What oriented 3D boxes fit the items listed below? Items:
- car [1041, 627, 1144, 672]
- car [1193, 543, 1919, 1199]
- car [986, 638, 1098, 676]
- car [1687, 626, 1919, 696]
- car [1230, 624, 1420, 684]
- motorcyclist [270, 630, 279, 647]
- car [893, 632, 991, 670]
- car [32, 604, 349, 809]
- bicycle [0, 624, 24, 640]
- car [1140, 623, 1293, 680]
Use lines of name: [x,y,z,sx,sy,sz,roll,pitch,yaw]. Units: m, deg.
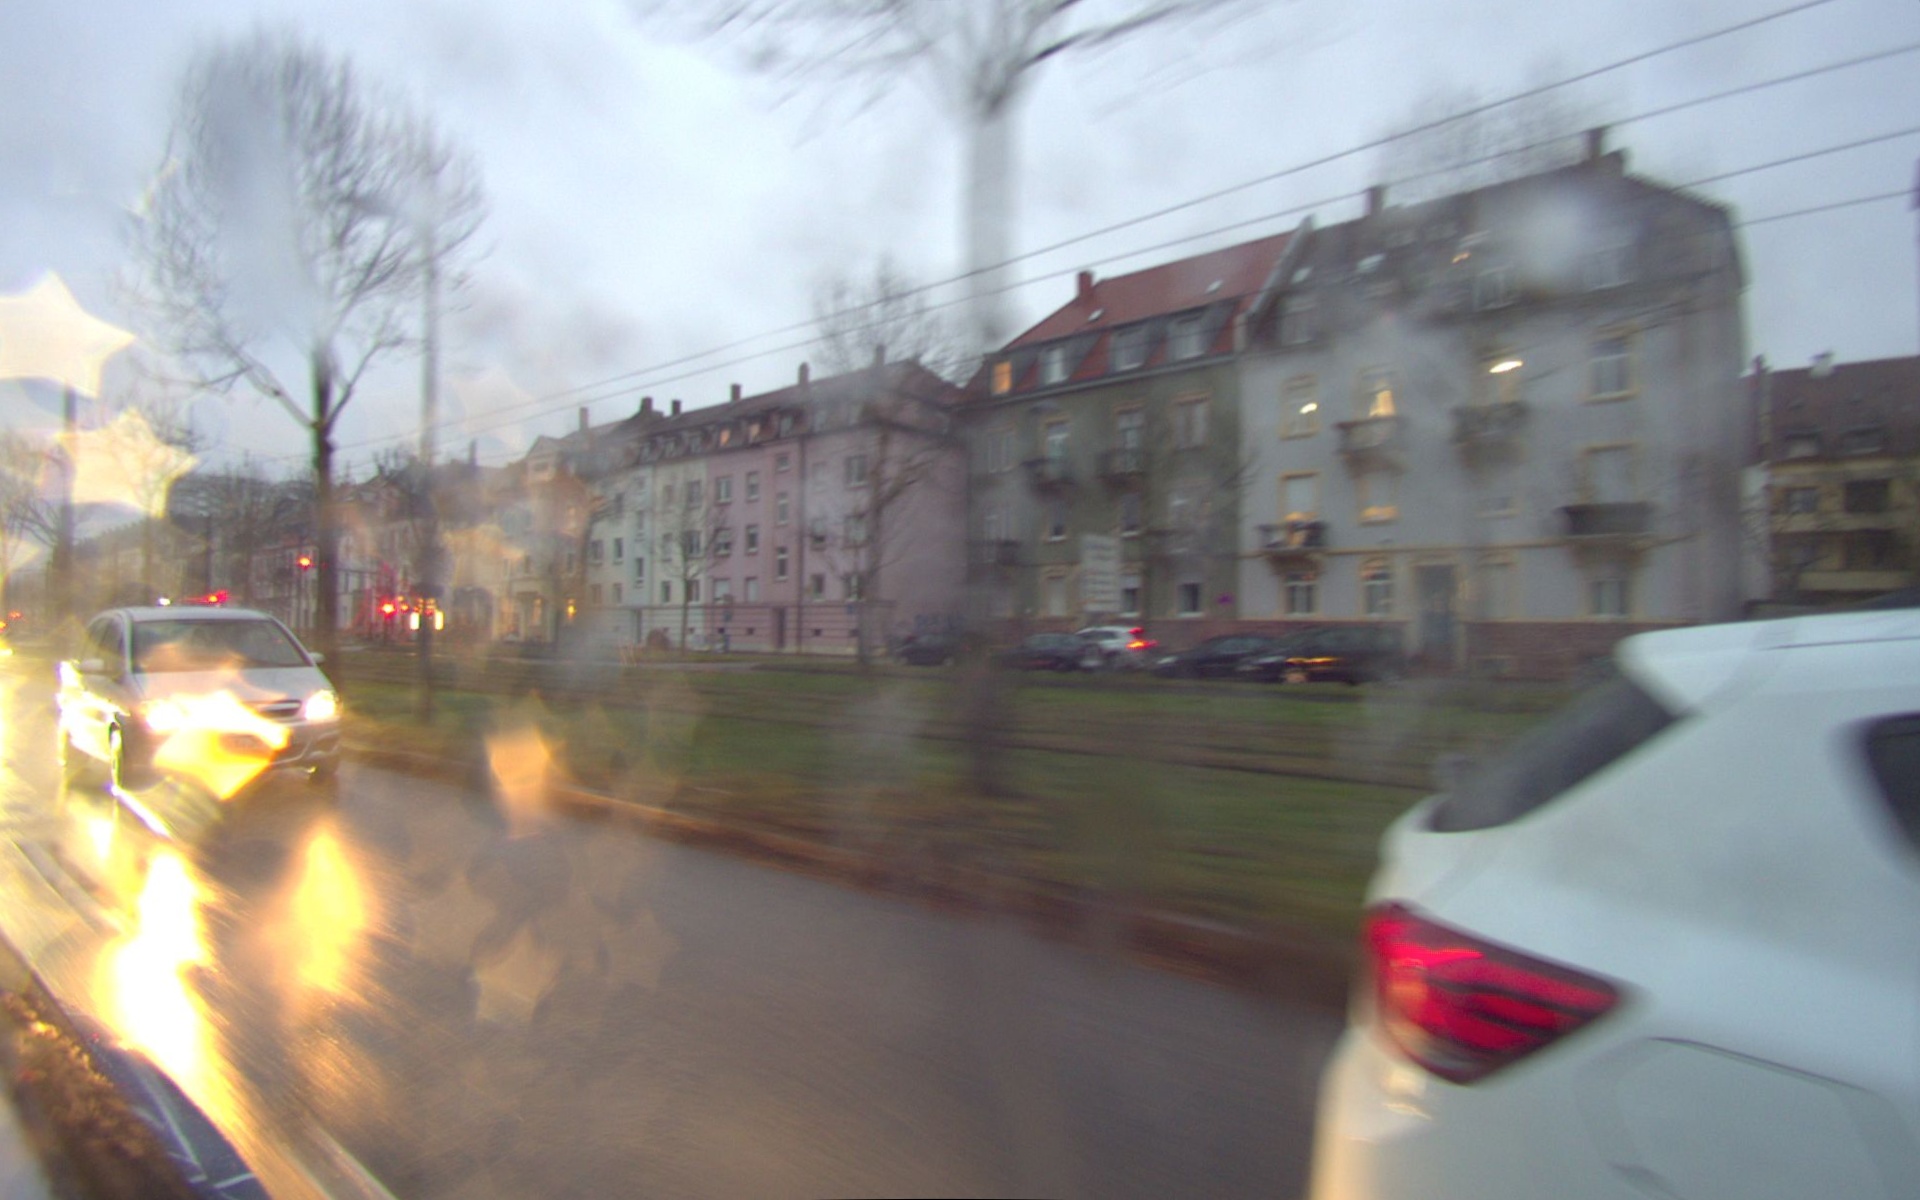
car: [5.006,1.841,38.338,3.536,1.563,1.662,-1,0,41]
car: [2.361,0.672,0.674,4.001,1.485,1.670,-1,0,43]
car: [2.831,1.958,35.557,3.894,1.177,1.218,-1,0,37]
car: [17.822,1.222,21.106,4.198,1.267,1.837,-1,0,-8]
car: [9.790,1.416,27.231,4.586,1.443,1.698,-1,0,-13]
motorcyclist: [-42.717,2.381,63.026,0.410,1.069,0.346,0,0,-42]
car: [-0.750,1.949,39.318,3.910,1.350,1.449,-1,0,43]
car: [-7.357,0.826,9.542,3.905,1.531,1.617,-1,0,41]
bicycle: [-56.577,1.886,59.827,0.733,0.905,1.703,0,-3,41]
car: [7.469,1.480,29.633,3.888,1.459,1.823,-1,0,-9]
